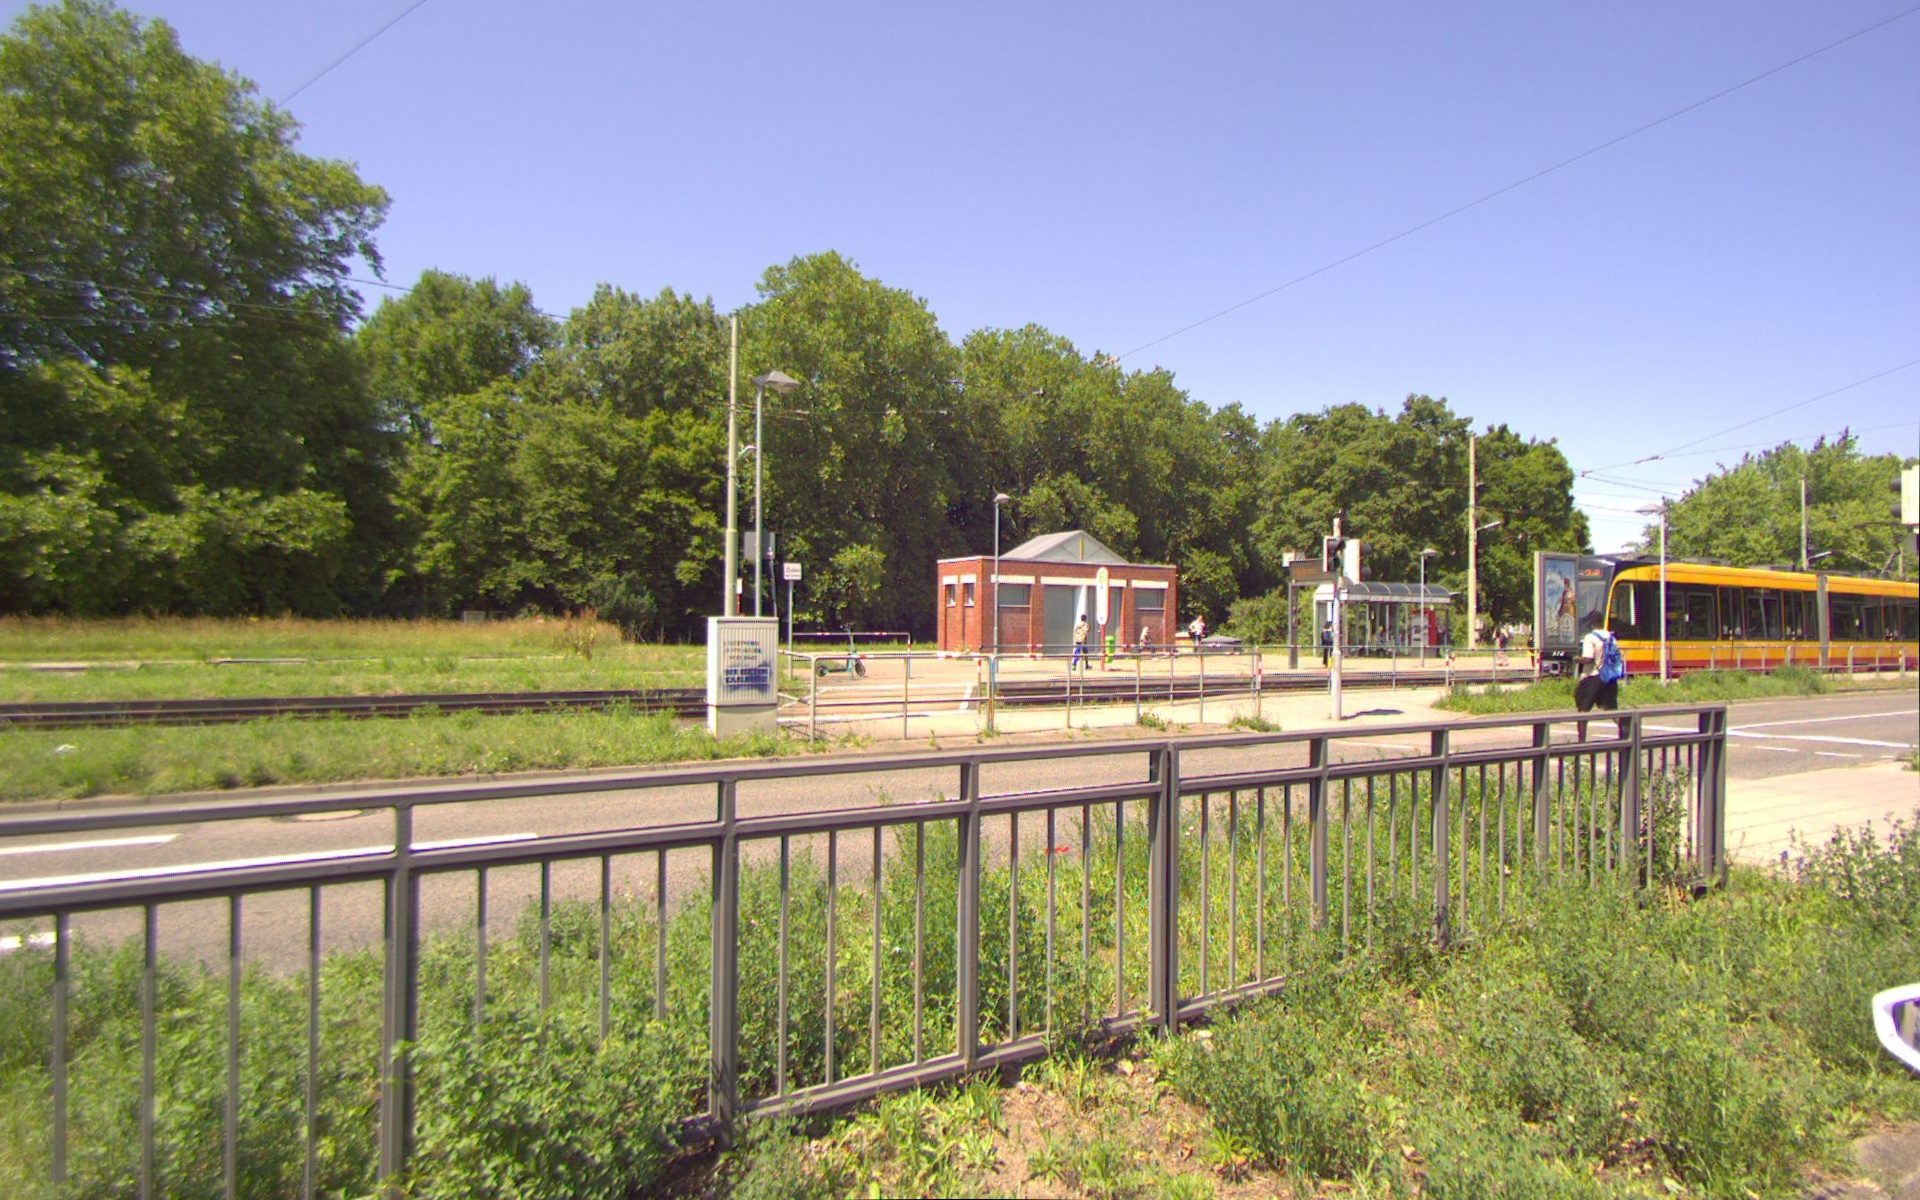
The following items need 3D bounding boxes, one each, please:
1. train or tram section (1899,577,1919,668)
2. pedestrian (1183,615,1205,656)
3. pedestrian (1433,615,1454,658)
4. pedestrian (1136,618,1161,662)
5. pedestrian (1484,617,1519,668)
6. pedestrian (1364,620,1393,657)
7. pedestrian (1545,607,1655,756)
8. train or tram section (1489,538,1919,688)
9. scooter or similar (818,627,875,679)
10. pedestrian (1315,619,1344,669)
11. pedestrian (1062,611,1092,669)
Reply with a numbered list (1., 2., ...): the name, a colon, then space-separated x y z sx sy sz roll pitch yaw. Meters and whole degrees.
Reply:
1. train or tram section: 55.027 1.250 50.085 32.699 3.840 2.917 1 -1 -31
2. pedestrian: 8.592 1.308 36.885 0.573 1.476 0.638 1 -1 -16
3. pedestrian: 20.737 1.550 43.100 0.707 1.824 0.845 0 -1 17
4. pedestrian: 6.590 1.398 35.071 0.563 1.499 0.636 1 -1 -30
5. pedestrian: 20.018 1.550 37.155 0.832 1.802 0.714 -1 5 -30
6. pedestrian: 17.229 1.577 41.375 0.710 1.531 0.841 1 -1 -19
7. pedestrian: 8.149 1.024 12.813 0.711 1.801 0.836 -1 -3 -30
8. train or tram section: 28.216 0.640 34.223 29.680 3.799 2.944 1 -1 -31
9. scooter or similar: -2.651 1.220 23.448 1.217 1.183 0.508 1 -1 -30
10. pedestrian: 11.910 1.404 32.379 0.688 1.575 0.629 1 -1 -42
11. pedestrian: 3.326 1.137 28.608 0.660 1.611 0.808 0 -1 20
